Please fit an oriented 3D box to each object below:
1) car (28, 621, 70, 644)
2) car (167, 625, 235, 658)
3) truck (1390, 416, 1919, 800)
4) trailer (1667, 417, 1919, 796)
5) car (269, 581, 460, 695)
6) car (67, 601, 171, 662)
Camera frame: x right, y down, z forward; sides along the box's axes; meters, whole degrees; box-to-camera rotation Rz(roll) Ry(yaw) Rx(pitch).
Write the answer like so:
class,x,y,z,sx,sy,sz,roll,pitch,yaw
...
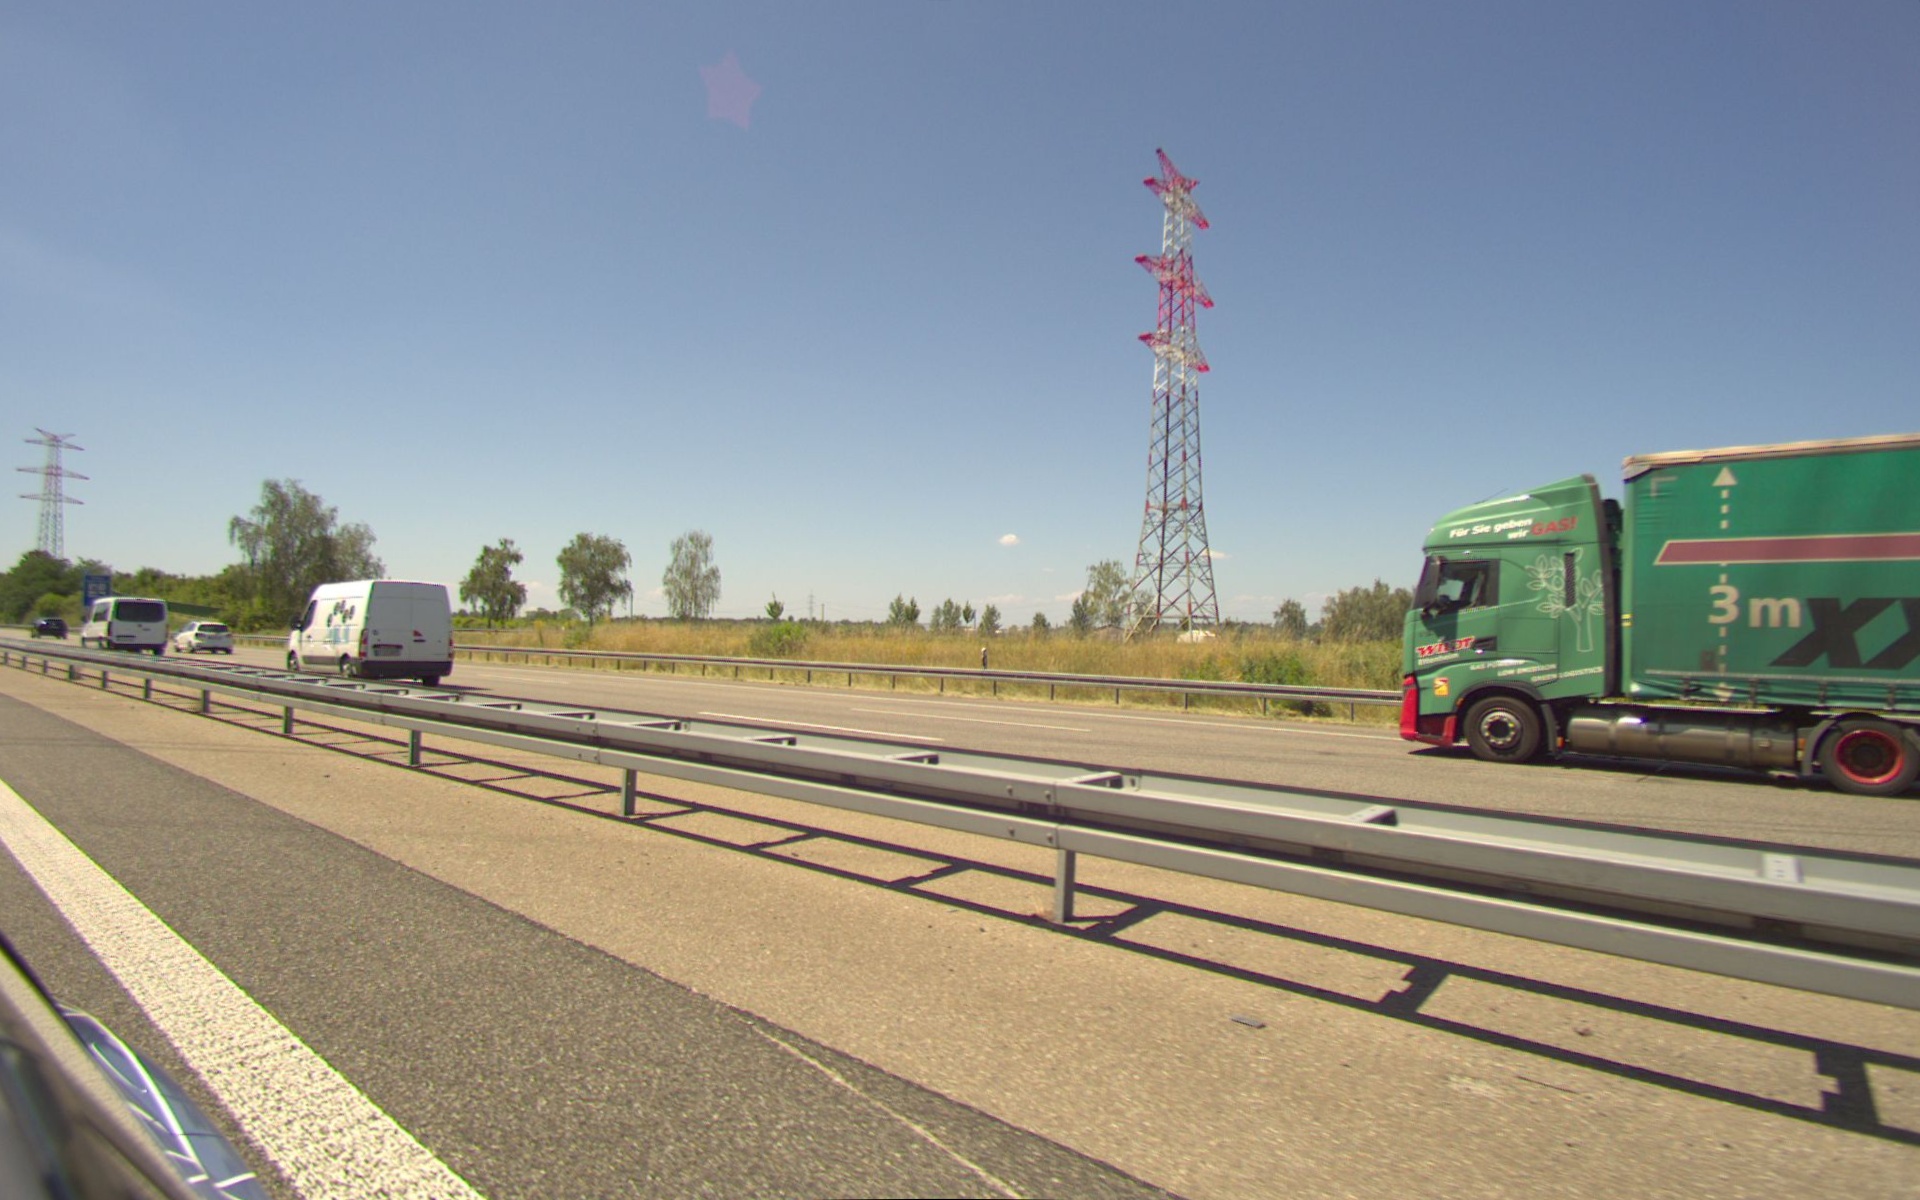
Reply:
class,x,y,z,sx,sy,sz,roll,pitch,yaw
car,-72.461,2.573,80.481,4.411,1.642,1.821,-1,-5,41
car,-37.947,2.065,50.573,4.511,1.535,1.690,-1,-5,41
truck,9.560,0.159,13.472,6.577,4.166,2.671,-1,-3,41
trailer,14.826,0.044,8.895,13.907,4.116,2.641,-1,-3,41
car,-14.539,0.912,24.540,6.065,2.457,2.026,-1,-4,40
car,-34.398,1.275,41.317,6.702,2.315,2.087,-1,-3,41
